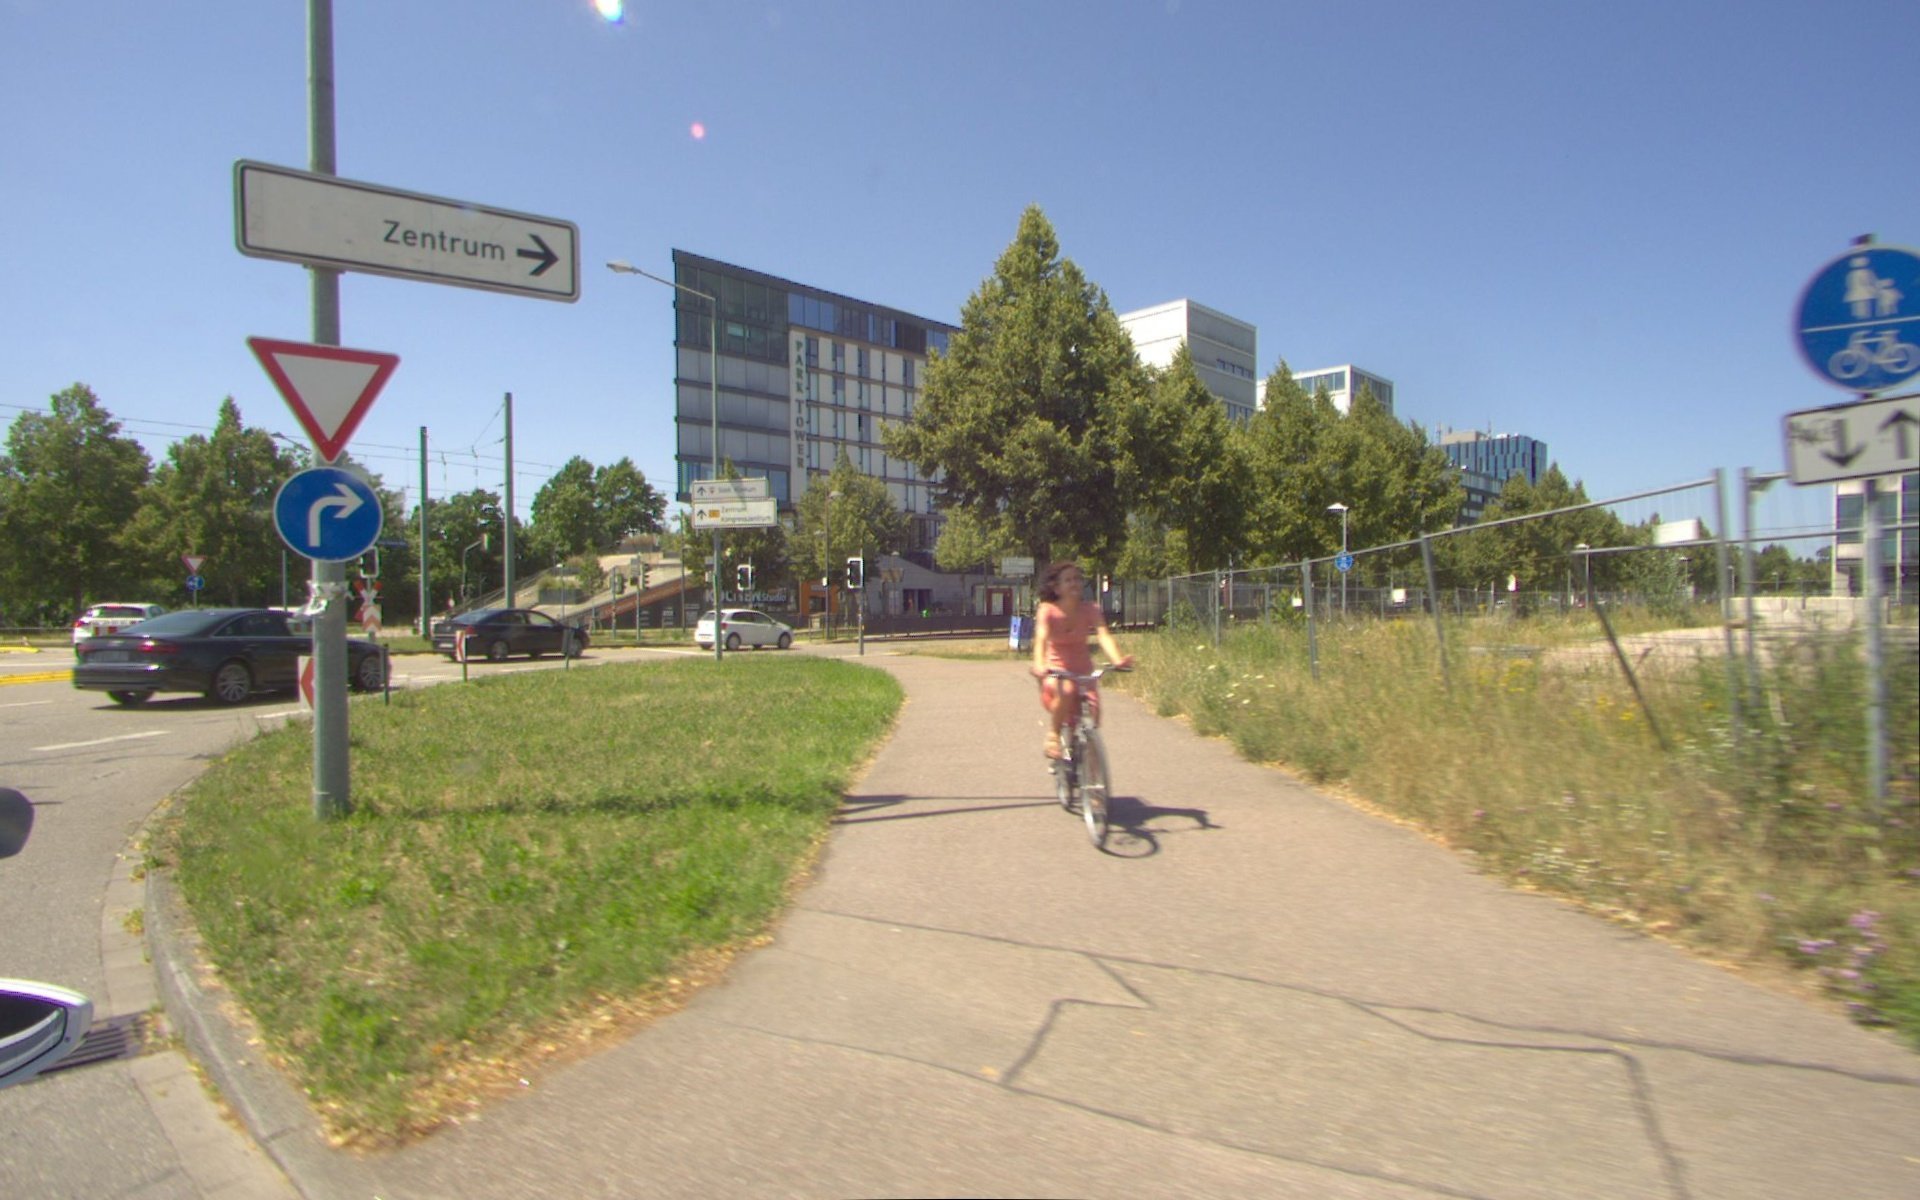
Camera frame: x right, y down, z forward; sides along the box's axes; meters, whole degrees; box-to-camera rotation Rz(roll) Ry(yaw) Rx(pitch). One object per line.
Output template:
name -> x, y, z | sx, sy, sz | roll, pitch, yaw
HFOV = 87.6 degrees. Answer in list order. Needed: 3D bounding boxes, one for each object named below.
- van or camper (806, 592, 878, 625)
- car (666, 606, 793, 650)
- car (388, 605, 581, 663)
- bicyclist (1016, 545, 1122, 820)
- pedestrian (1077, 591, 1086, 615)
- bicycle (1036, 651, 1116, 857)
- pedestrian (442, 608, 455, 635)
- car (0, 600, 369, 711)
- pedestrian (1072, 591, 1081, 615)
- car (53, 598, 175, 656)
van or camper -> -10.805, 0.783, 92.166 | 2.356, 2.859, 6.729 | 0, 0, 42
car -> -8.250, 1.008, 36.176 | 1.833, 1.467, 4.322 | 0, -1, 38
car -> -13.021, 0.909, 27.772 | 1.966, 1.467, 4.746 | 0, -1, 23
bicyclist -> 0.702, 0.516, 6.529 | 0.633, 1.686, 0.710 | -1, 0, 5
pedestrian -> 8.974, 0.218, 74.243 | 0.406, 1.775, 0.581 | 0, 1, 42
bicycle -> 0.733, 0.925, 6.681 | 0.431, 1.072, 2.088 | -1, 0, 4
pedestrian -> -27.764, 1.176, 54.370 | 0.348, 1.448, 0.517 | 0, 1, 41
car -> -11.864, 0.765, 15.765 | 1.961, 1.468, 4.649 | 0, 0, 8
pedestrian -> 8.550, 0.231, 73.602 | 0.406, 1.775, 0.581 | 0, 1, 42
car -> -23.851, 0.718, 28.411 | 1.972, 1.506, 4.341 | 0, 0, -32
